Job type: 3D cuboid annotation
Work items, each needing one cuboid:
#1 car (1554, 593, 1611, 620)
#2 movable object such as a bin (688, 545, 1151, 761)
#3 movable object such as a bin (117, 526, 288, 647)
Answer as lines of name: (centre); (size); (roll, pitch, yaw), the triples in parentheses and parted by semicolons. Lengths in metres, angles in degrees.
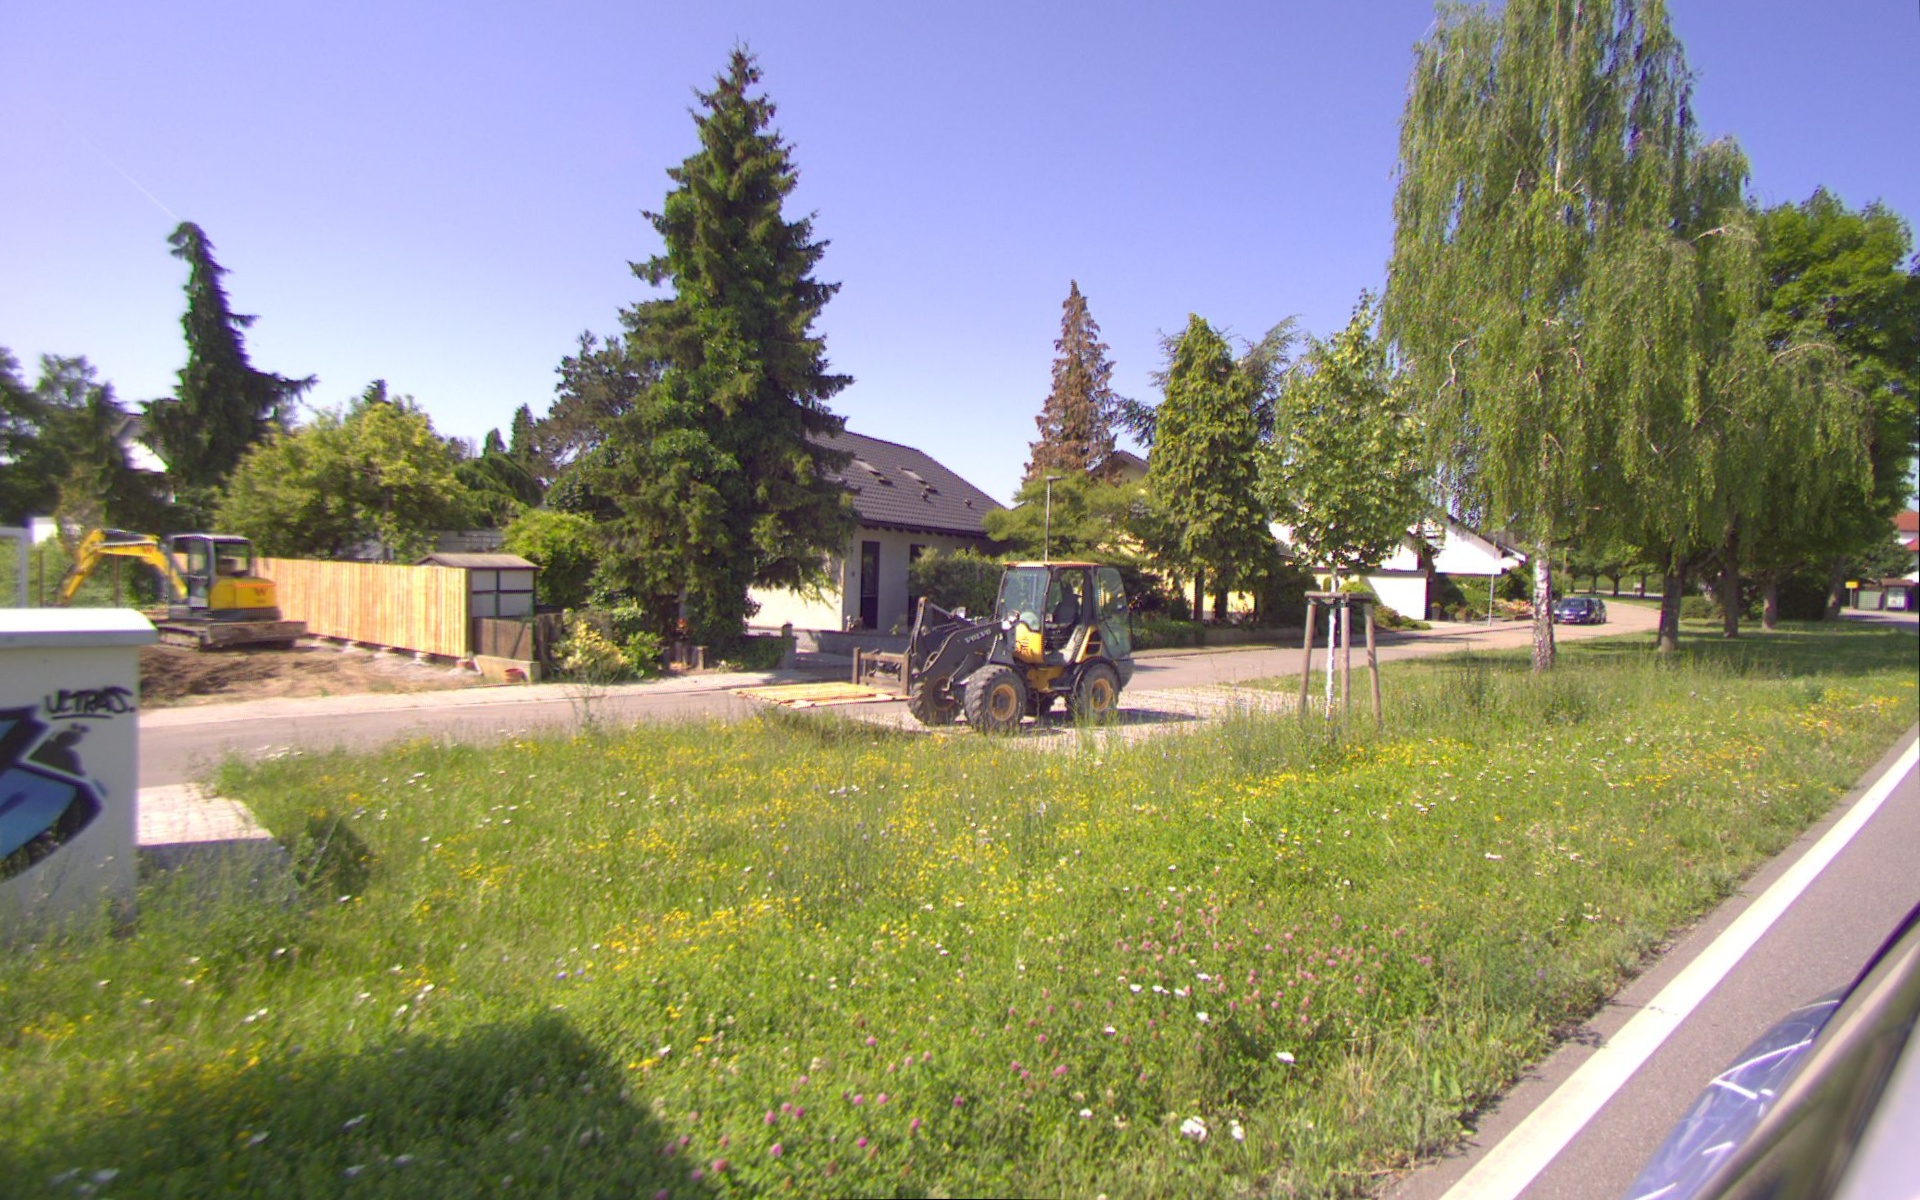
car: (35.357, 0.318, 57.428); (4.100, 1.463, 1.859); (-1, 1, -44)
movable object such as a bin: (-0.281, 0.555, 14.791); (6.824, 2.493, 2.320); (-1, 1, -41)
movable object such as a bin: (-17.223, -0.329, 23.071); (2.839, 2.589, 1.778); (1, 1, 16)
